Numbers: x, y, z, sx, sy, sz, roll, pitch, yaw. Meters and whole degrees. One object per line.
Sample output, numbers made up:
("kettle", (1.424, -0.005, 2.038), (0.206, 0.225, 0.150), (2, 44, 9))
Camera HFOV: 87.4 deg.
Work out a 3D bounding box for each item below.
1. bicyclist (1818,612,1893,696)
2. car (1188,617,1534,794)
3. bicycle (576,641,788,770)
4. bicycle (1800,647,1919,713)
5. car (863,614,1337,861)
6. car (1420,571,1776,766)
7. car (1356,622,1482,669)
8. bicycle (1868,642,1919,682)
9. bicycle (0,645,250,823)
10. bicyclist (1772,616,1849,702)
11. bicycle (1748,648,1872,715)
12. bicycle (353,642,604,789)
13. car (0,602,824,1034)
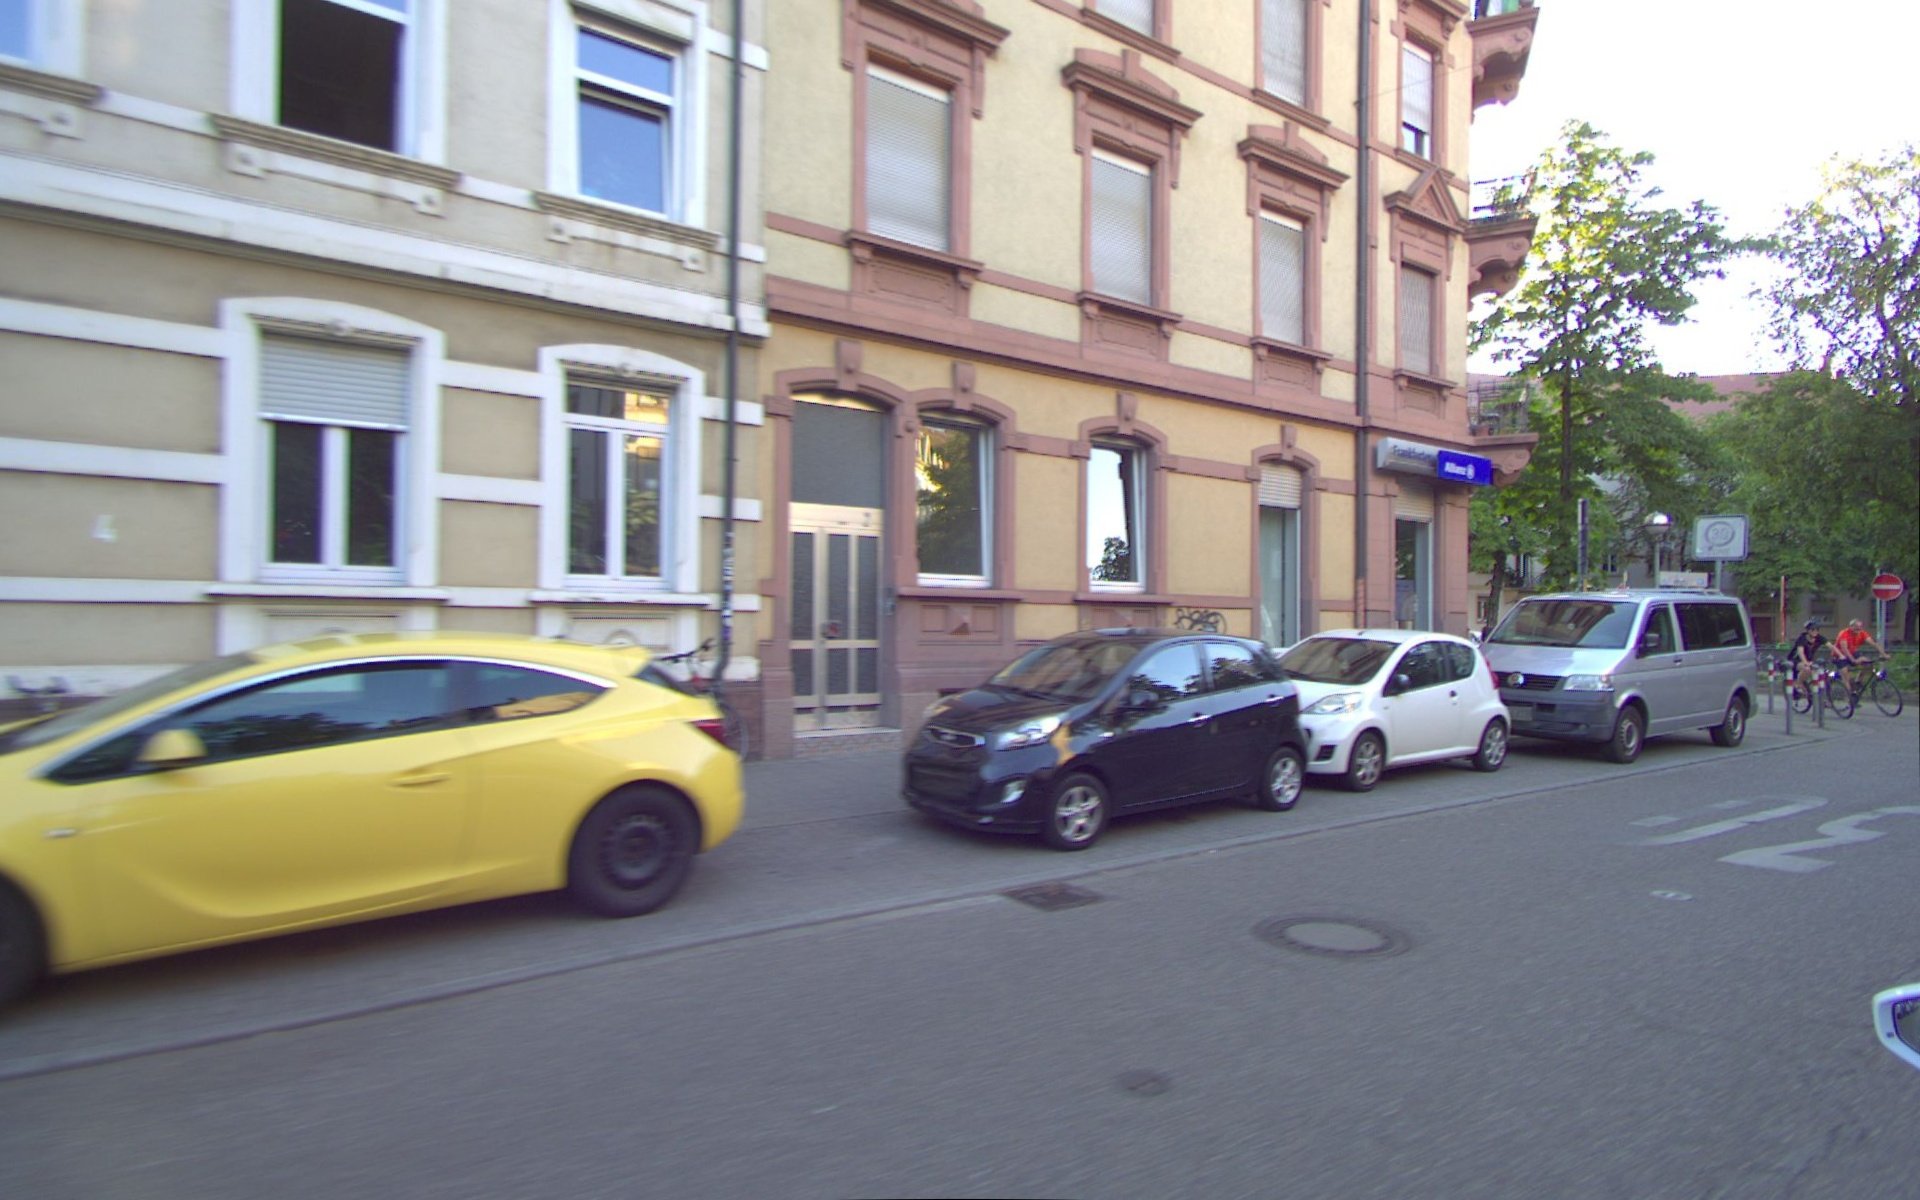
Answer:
("bicyclist", (16.847, 0.998, 18.917), (0.641, 1.546, 0.867), (0, -1, 1))
("car", (4.278, 0.972, 10.576), (3.577, 1.511, 1.673), (1, 0, -35))
("bicycle", (-2.595, 0.943, 9.475), (1.817, 1.084, 0.657), (1, -1, -36))
("bicycle", (16.840, 1.459, 18.769), (0.639, 1.122, 2.015), (0, -1, 1))
("car", (1.241, 0.908, 8.167), (3.708, 1.511, 1.716), (1, 0, -38))
("car", (8.350, 0.763, 13.001), (4.952, 2.084, 2.028), (1, 0, -34))
("car", (16.237, 1.580, 35.857), (1.962, 1.537, 4.837), (0, -1, -5))
("bicycle", (28.931, 1.889, 30.381), (2.079, 1.166, 0.684), (-1, -1, 34))
("bicycle", (-6.169, 0.914, 7.098), (1.843, 1.155, 0.477), (1, -1, -33))
("bicyclist", (15.555, 1.065, 18.393), (0.701, 1.546, 0.867), (0, -1, 5))
("bicycle", (15.561, 1.461, 18.467), (0.708, 1.122, 2.015), (0, -1, 5))
("bicycle", (-4.010, 0.914, 8.445), (1.817, 1.084, 0.657), (1, -1, -36))
("car", (-3.227, 0.820, 5.046), (4.755, 1.546, 1.826), (1, 1, -36))
